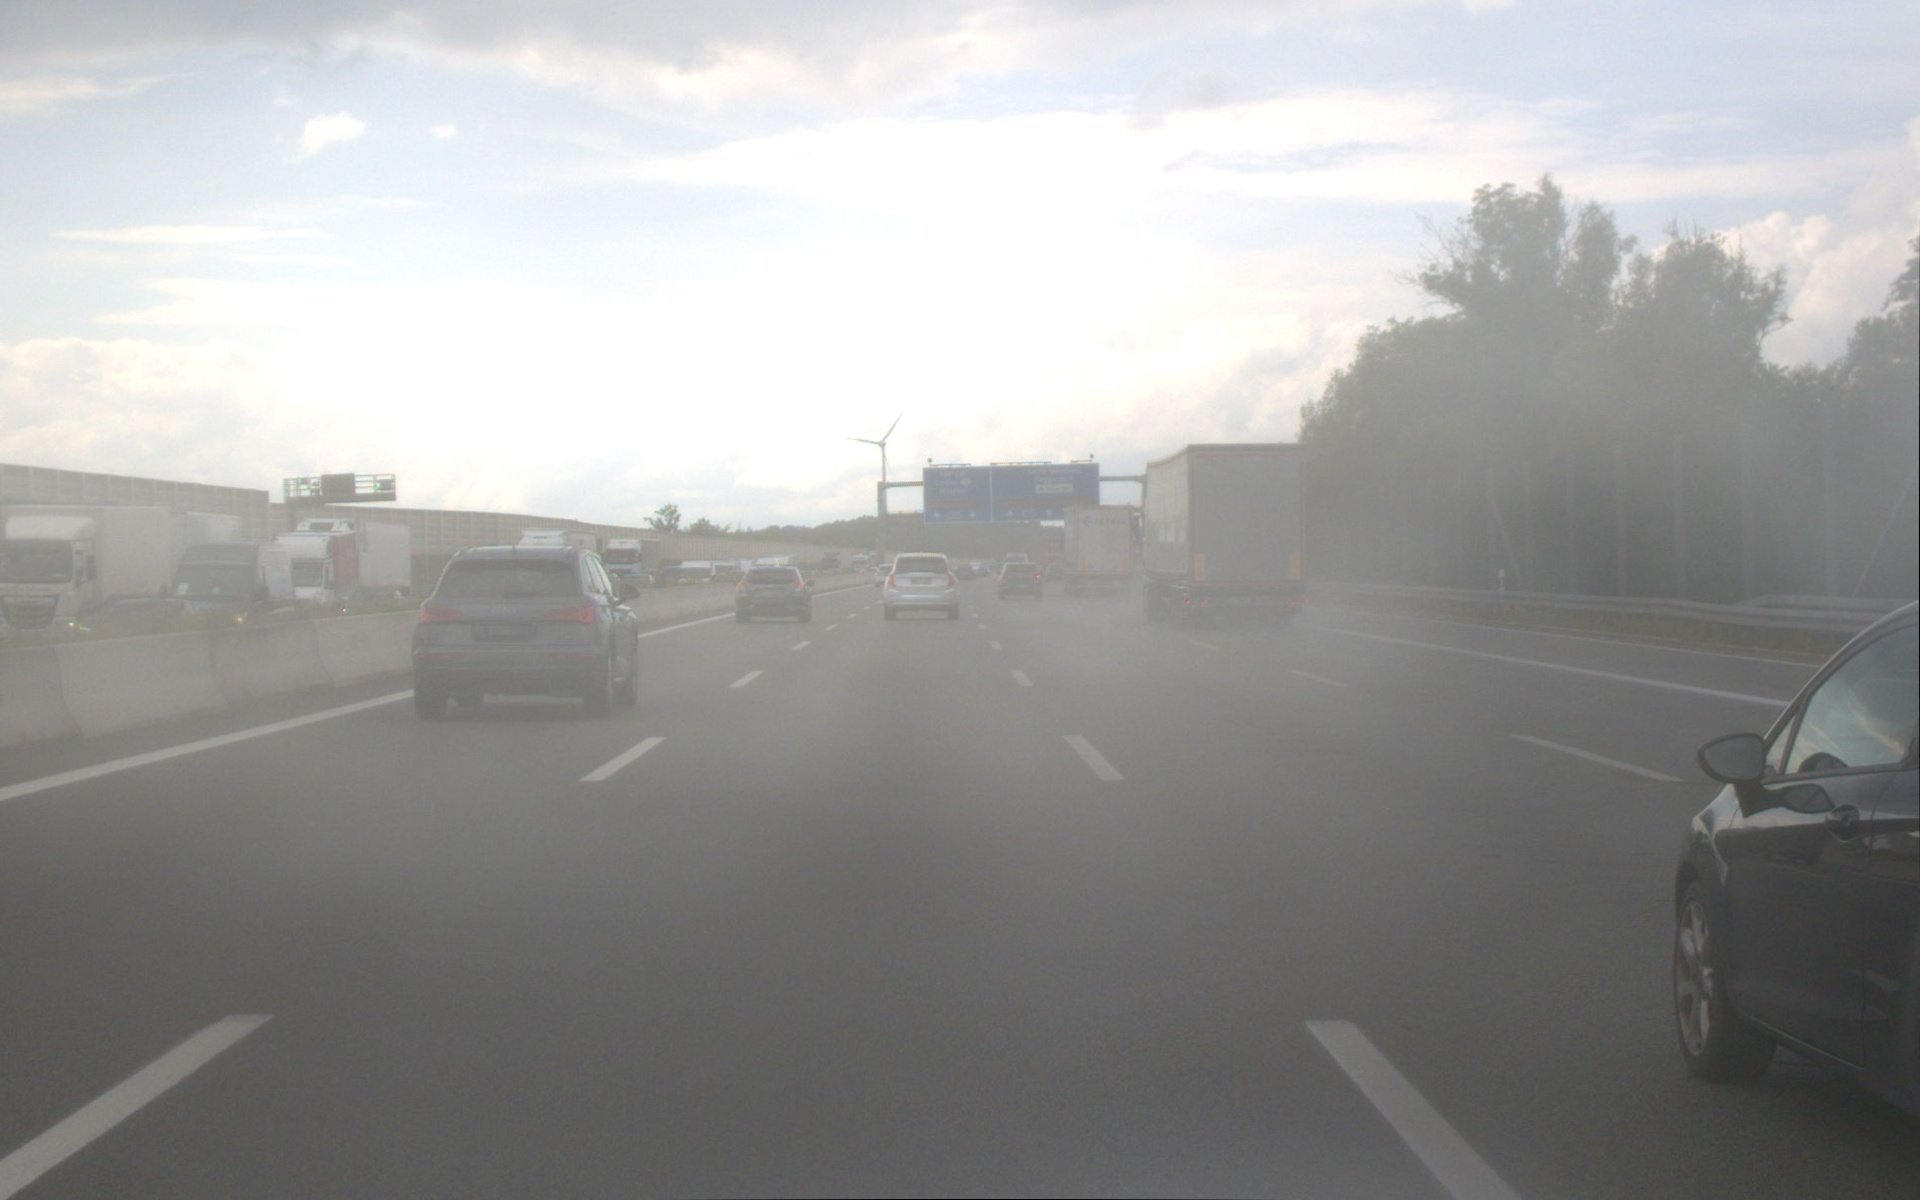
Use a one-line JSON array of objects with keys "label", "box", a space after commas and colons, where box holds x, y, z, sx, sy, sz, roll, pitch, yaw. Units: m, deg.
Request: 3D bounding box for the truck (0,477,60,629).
[{"label": "truck", "box": [-27.125, -1.313, 94.125, 2.710, 4.060, 8.915, 1, 1, -1]}]

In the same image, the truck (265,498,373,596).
[{"label": "truck", "box": [-22.746, -1.906, 122.352, 2.321, 3.336, 8.354, 1, 1, -1]}]

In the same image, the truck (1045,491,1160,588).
[{"label": "truck", "box": [6.331, -2.774, 155.275, 4.243, 4.162, 11.991, 1, 1, -2]}]

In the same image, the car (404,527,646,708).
[{"label": "car", "box": [-4.335, 0.110, 34.997, 1.908, 1.685, 5.169, 0, 1, -1]}]

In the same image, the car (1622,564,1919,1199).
[{"label": "car", "box": [2.767, 0.644, 8.925, 1.447, 1.436, 3.164, 0, 1, -1]}]

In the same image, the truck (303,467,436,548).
[{"label": "truck", "box": [-26.069, -4.070, 152.661, 3.266, 3.340, 16.086, 1, 1, -1]}]

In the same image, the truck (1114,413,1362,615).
[{"label": "truck", "box": [6.256, -1.996, 80.106, 4.179, 4.273, 12.614, 1, 1, -2]}]

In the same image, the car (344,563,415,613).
[{"label": "car", "box": [-18.636, -0.409, 110.459, 1.663, 1.529, 3.888, 1, 1, -1]}]

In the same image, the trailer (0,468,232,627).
[{"label": "trailer", "box": [-22.735, -1.469, 92.851, 3.079, 3.921, 14.983, 1, 1, -1]}]

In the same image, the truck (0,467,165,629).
[{"label": "truck", "box": [-22.652, -1.350, 87.362, 3.079, 3.921, 8.054, 1, 1, -1]}]

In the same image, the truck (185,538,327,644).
[{"label": "truck", "box": [-15.518, -0.247, 76.074, 1.993, 2.204, 5.925, 1, 1, -1]}]

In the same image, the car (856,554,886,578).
[{"label": "car", "box": [-5.645, -2.148, 218.184, 1.772, 1.436, 3.874, 0, 2, -3]}]

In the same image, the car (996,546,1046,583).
[{"label": "car", "box": [2.516, -1.480, 142.531, 1.835, 1.436, 4.056, 0, 2, -2]}]

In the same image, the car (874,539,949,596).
[{"label": "car", "box": [-1.294, -0.876, 90.468, 1.772, 1.436, 4.056, 0, 2, -4]}]

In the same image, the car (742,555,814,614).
[{"label": "car", "box": [-4.640, -0.414, 87.221, 1.760, 1.364, 5.061, 0, 2, -4]}]
